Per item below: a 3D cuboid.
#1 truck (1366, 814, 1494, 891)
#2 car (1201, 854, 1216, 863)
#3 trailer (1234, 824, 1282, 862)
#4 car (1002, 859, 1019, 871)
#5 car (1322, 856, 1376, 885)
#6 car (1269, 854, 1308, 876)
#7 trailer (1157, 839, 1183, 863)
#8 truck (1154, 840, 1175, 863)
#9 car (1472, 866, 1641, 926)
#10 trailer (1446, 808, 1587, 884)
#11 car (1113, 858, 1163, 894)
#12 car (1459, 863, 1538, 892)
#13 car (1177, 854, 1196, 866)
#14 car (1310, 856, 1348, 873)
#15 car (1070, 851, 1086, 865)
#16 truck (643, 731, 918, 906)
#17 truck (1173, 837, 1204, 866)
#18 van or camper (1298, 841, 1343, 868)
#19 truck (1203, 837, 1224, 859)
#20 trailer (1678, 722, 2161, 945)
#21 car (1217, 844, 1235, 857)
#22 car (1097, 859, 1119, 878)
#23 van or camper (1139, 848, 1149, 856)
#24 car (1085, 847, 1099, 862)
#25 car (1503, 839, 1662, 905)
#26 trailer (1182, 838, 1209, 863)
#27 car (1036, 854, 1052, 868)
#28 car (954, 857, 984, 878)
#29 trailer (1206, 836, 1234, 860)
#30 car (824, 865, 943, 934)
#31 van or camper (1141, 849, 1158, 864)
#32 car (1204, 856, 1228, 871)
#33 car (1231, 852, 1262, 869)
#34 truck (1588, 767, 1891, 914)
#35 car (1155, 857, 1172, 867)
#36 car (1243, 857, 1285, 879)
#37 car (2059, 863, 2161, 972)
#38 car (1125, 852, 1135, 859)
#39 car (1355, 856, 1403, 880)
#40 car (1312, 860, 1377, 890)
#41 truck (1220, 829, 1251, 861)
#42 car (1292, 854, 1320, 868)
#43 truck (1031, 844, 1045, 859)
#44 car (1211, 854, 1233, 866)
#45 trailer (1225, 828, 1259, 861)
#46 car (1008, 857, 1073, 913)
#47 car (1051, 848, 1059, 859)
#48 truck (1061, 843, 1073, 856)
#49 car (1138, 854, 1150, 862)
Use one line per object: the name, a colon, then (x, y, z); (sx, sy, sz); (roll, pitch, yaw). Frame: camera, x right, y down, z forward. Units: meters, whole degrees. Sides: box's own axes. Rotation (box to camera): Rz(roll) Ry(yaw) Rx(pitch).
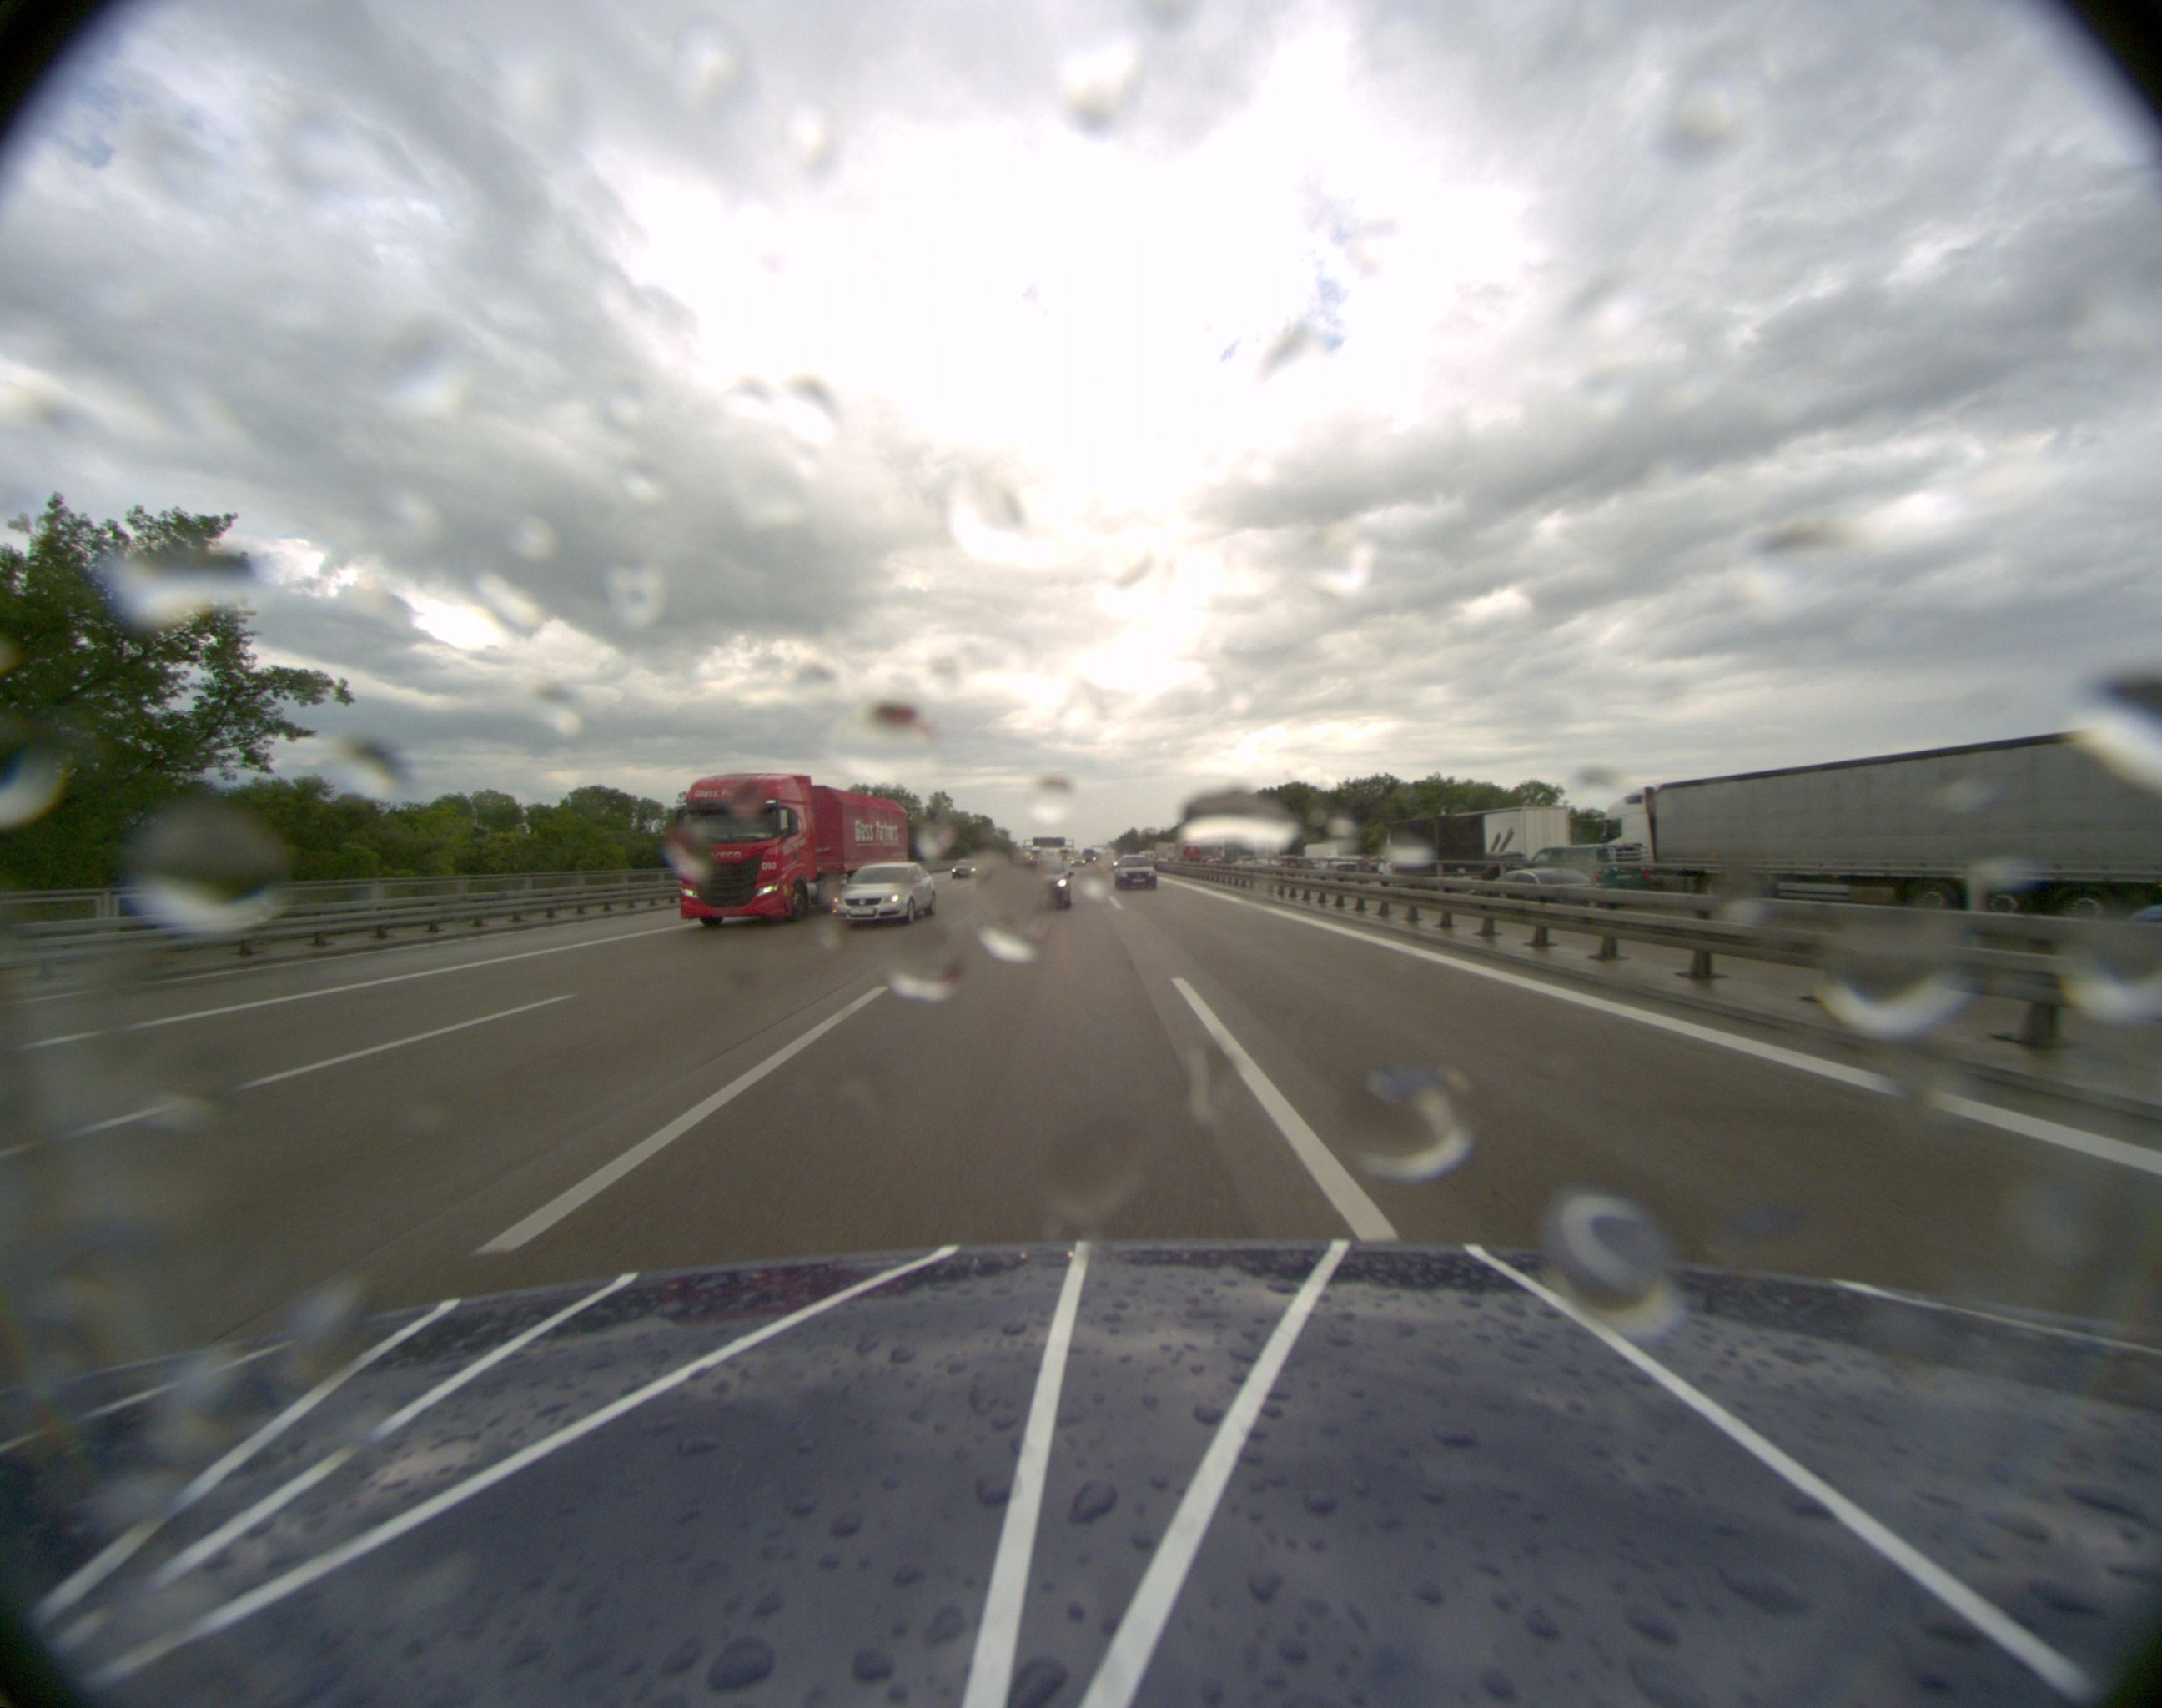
truck: (17.047, -0.048, 37.901); (2.526, 3.379, 8.540); (-1, 0, 0)
car: (19.693, 0.634, 117.626); (1.603, 1.336, 4.194); (-1, 0, -1)
trailer: (20.336, -1.212, 88.160); (2.825, 4.037, 11.602); (-2, 0, 0)
car: (-8.597, 1.304, 92.921); (1.782, 1.438, 4.587); (-2, 0, -2)
car: (17.024, 1.009, 48.534); (1.724, 1.690, 5.055); (-1, 0, 0)
car: (16.576, 0.838, 60.904); (1.724, 1.717, 5.104); (-1, 0, 0)
trailer: (15.871, -0.504, 136.053); (2.888, 4.121, 13.026); (-1, 0, -1)
truck: (15.778, -0.525, 143.939); (2.888, 4.156, 7.556); (-1, 0, -1)
car: (12.517, 1.046, 20.404); (1.724, 1.346, 4.535); (-1, 0, 0)
trailer: (25.386, -0.445, 44.964); (3.227, 3.936, 8.850); (-2, 0, 0)
car: (2.378, 0.885, 32.641); (1.781, 1.399, 5.016); (-2, 0, 1)
car: (20.709, 1.129, 37.902); (1.724, 1.346, 4.086); (-1, 0, 0)
car: (13.150, 0.701, 94.723); (1.836, 1.443, 4.000); (-1, 0, 0)
car: (19.837, 0.803, 60.947); (1.672, 1.346, 4.218); (-1, 0, 0)
car: (-0.424, 0.504, 102.175); (2.134, 1.831, 4.000); (-1, 0, 0)
truck: (-8.669, -0.787, 25.496); (3.161, 3.980, 15.635); (-2, 0, -1)
truck: (16.153, -0.388, 114.904); (2.991, 4.124, 12.522); (-1, 0, 1)
van or camper: (24.496, 0.028, 78.123); (2.249, 2.563, 7.363); (-1, 0, -1)
truck: (24.480, -1.012, 140.643); (2.766, 3.970, 6.576); (-1, 0, 1)
trailer: (20.623, -0.405, 17.657); (3.252, 3.910, 13.015); (-2, 0, 0)
car: (21.124, -0.488, 110.962); (1.998, 1.820, 4.000); (-1, 0, 1)
car: (2.320, 1.203, 65.939); (1.751, 1.489, 4.015); (-2, 0, 1)
van or camper: (20.731, -0.598, 250.386); (2.208, 2.749, 7.229); (-1, 0, -3)
car: (1.768, 0.082, 124.986); (1.999, 2.354, 4.171); (-2, 0, -1)
car: (17.264, 0.556, 26.590); (1.826, 2.040, 5.675); (-1, 0, 0)
trailer: (20.240, -0.582, 135.214); (2.888, 4.121, 13.028); (-1, 0, 1)
car: (-5.008, 0.953, 103.469); (1.962, 1.831, 3.999); (-1, 0, -1)
car: (-8.710, 1.033, 59.534); (1.820, 1.534, 4.357); (-2, 0, -2)
trailer: (24.377, -1.000, 133.922); (2.765, 3.970, 12.306); (-1, 0, 0)
car: (-4.736, 1.028, 18.891); (1.898, 1.438, 4.245); (-2, 0, -1)
van or camper: (12.112, 0.408, 134.368); (2.284, 2.481, 7.301); (-1, 0, -1)
car: (13.065, 0.884, 73.868); (1.577, 1.346, 4.384); (-1, 0, 0)
car: (16.390, 0.597, 75.521); (1.768, 1.615, 4.779); (-1, 0, -2)
truck: (20.579, -0.366, 24.602); (3.207, 3.910, 7.573); (-2, 0, 0)
car: (12.331, 1.134, 113.563); (1.927, 1.410, 5.011); (-1, 0, -1)
car: (13.137, 0.969, 54.781); (1.724, 1.494, 5.502); (-1, 0, 0)
car: (17.185, 0.962, 10.306); (1.826, 1.614, 4.698); (-1, 0, 0)
car: (11.818, 0.345, 184.256); (1.918, 1.756, 5.330); (-1, 0, -1)
car: (20.466, 0.944, 52.384); (1.724, 1.526, 4.086); (-1, 0, 0)
car: (12.491, 0.962, 36.278); (1.724, 1.346, 4.000); (-1, 0, 0)
truck: (20.301, -1.200, 100.009); (2.852, 4.006, 4.963); (-2, 0, 0)
car: (20.826, 0.646, 70.475); (1.577, 1.325, 3.432); (-1, 0, 0)
truck: (-11.244, -0.614, 197.980); (3.256, 3.884, 12.309); (-2, 0, -4)
car: (16.959, 0.730, 91.516); (1.836, 1.443, 4.000); (-1, 0, 0)
trailer: (20.306, -1.181, 96.165); (2.842, 4.005, 6.314); (-2, 0, 0)
car: (-1.122, 0.861, 22.964); (1.668, 1.431, 4.405); (-2, 0, 0)
car: (-6.638, -0.135, 197.348); (2.037, 2.587, 4.513); (-1, 0, -1)
truck: (-4.484, -1.330, 237.539); (2.959, 3.777, 12.322); (-2, 0, -5)
car: (12.380, 0.772, 149.672); (1.927, 1.410, 5.164); (-1, 0, -1)
